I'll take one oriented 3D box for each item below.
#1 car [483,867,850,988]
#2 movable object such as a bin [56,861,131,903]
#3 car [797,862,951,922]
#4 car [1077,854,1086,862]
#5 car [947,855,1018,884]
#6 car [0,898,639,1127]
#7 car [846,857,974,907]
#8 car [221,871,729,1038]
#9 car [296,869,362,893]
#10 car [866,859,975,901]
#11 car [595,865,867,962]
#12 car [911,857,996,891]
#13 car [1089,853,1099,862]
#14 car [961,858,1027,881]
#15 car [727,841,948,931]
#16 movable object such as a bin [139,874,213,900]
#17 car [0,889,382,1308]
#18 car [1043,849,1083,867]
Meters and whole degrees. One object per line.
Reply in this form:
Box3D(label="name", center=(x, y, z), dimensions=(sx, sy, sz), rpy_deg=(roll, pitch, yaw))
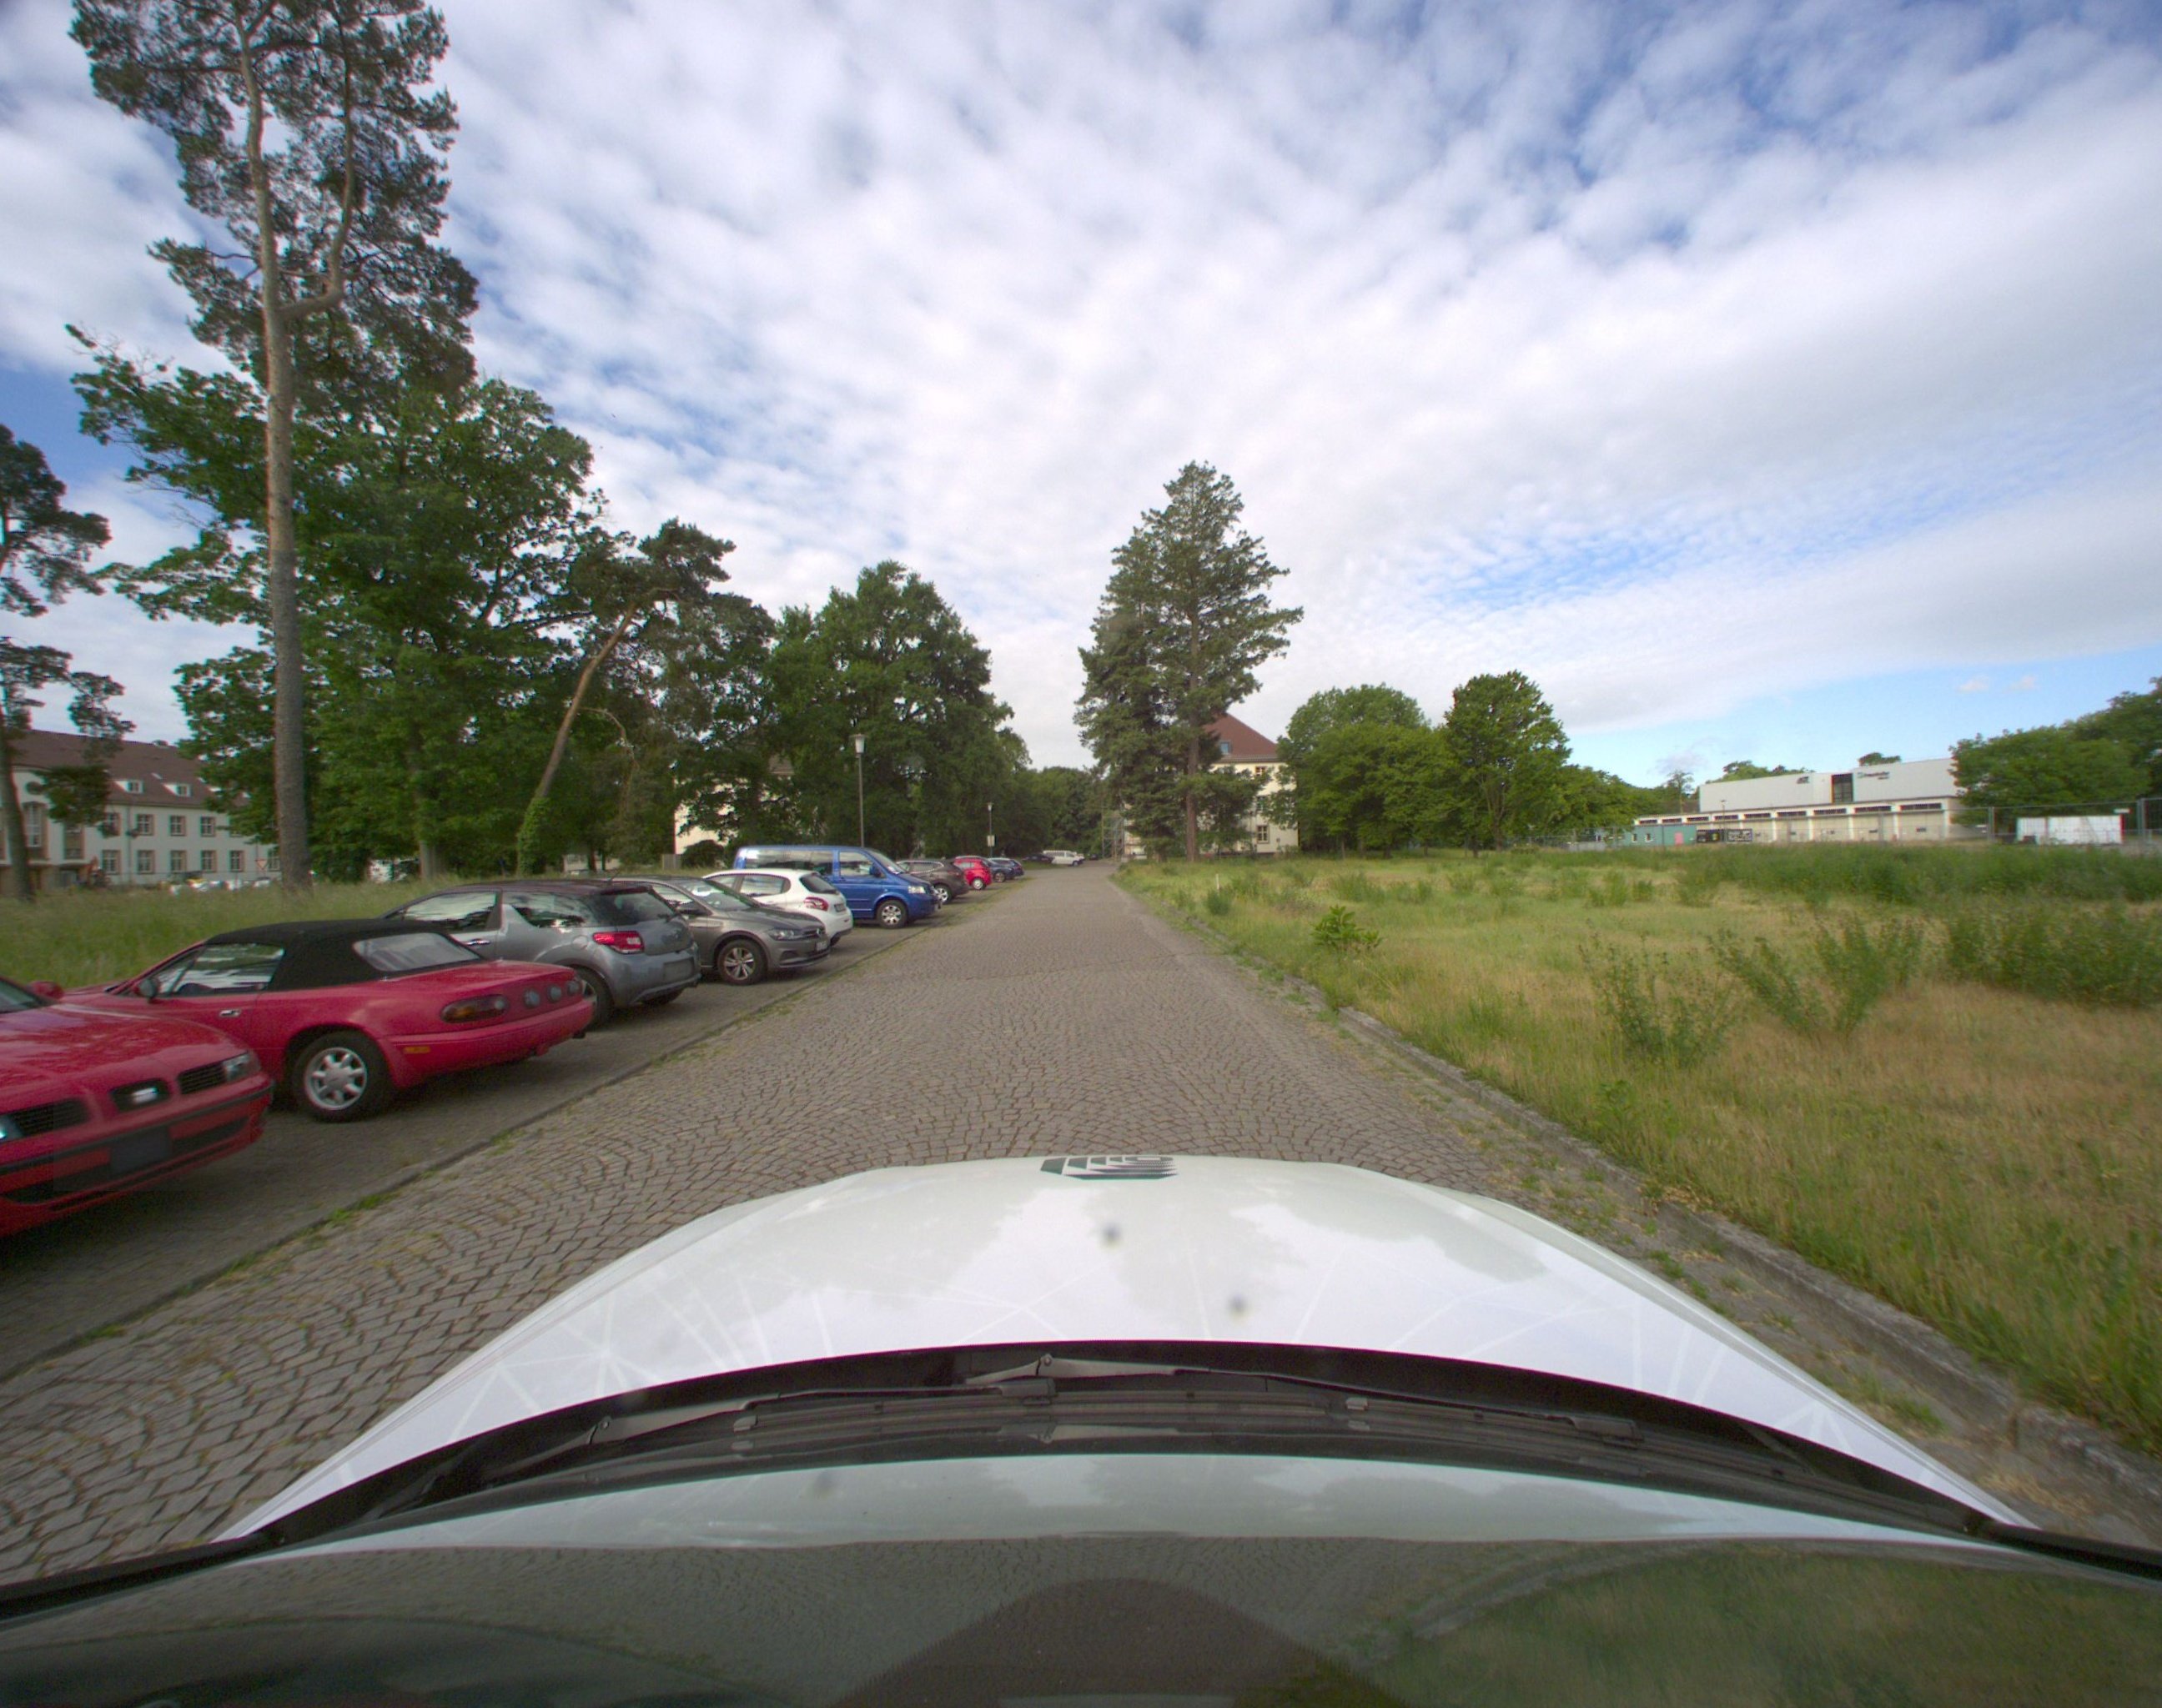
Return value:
Box3D(label="car", center=(-5.715, 0.989, 11.609), dimensions=(4.289, 1.480, 1.731), rpy_deg=(-1, 0, 1))
Box3D(label="movable object such as a bin", center=(-90.510, 2.565, 74.642), dimensions=(6.068, 3.642, 2.150), rpy_deg=(-2, -2, 16))
Box3D(label="car", center=(-5.595, 1.009, 22.358), dimensions=(3.785, 1.493, 1.724), rpy_deg=(-1, 0, -3))
Box3D(label="car", center=(0.122, 0.819, 168.997), dimensions=(1.785, 1.636, 4.058), rpy_deg=(-2, -2, -2))
Box3D(label="car", center=(-5.922, 0.911, 49.202), dimensions=(4.061, 1.604, 1.786), rpy_deg=(-1, 0, -2))
Box3D(label="car", center=(-5.852, 1.060, 6.043), dimensions=(4.118, 1.283, 1.763), rpy_deg=(-1, 0, -1))
Box3D(label="car", center=(-5.922, 0.949, 28.640), dimensions=(4.057, 1.575, 1.953), rpy_deg=(-1, 0, -2))
Box3D(label="car", center=(-6.213, 0.984, 8.718), dimensions=(4.074, 1.480, 1.755), rpy_deg=(-1, 0, 0))
Box3D(label="car", center=(-69.250, 2.466, 75.111), dimensions=(2.055, 2.095, 4.343), rpy_deg=(-3, -2, -1))
Box3D(label="car", center=(-6.141, 0.988, 31.423), dimensions=(3.804, 1.486, 1.761), rpy_deg=(-1, 0, -1))
Box3D(label="car", center=(-6.069, 1.003, 14.469), dimensions=(3.991, 1.501, 1.843), rpy_deg=(-1, 0, 1))
Box3D(label="car", center=(-6.044, 0.941, 38.951), dimensions=(3.805, 1.489, 1.786), rpy_deg=(-1, 0, -2))
Box3D(label="car", center=(2.735, 0.702, 169.363), dimensions=(1.785, 1.720, 4.058), rpy_deg=(-2, -2, -2))
Box3D(label="car", center=(-5.737, 1.015, 53.901), dimensions=(4.054, 1.467, 1.627), rpy_deg=(-1, 0, 3))
Box3D(label="car", center=(-5.766, 0.732, 19.773), dimensions=(4.696, 1.980, 2.037), rpy_deg=(-1, 0, -2))
Box3D(label="movable object such as a bin", center=(-84.662, 3.110, 76.215), dimensions=(4.486, 2.254, 2.382), rpy_deg=(-2, -2, 4))
Box3D(label="car", center=(-6.098, 0.976, 3.657), dimensions=(4.241, 1.455, 1.855), rpy_deg=(-1, 0, -1))
Box3D(label="car", center=(-2.261, 0.526, 102.927), dimensions=(4.965, 2.073, 2.050), rpy_deg=(-1, -2, -2))
